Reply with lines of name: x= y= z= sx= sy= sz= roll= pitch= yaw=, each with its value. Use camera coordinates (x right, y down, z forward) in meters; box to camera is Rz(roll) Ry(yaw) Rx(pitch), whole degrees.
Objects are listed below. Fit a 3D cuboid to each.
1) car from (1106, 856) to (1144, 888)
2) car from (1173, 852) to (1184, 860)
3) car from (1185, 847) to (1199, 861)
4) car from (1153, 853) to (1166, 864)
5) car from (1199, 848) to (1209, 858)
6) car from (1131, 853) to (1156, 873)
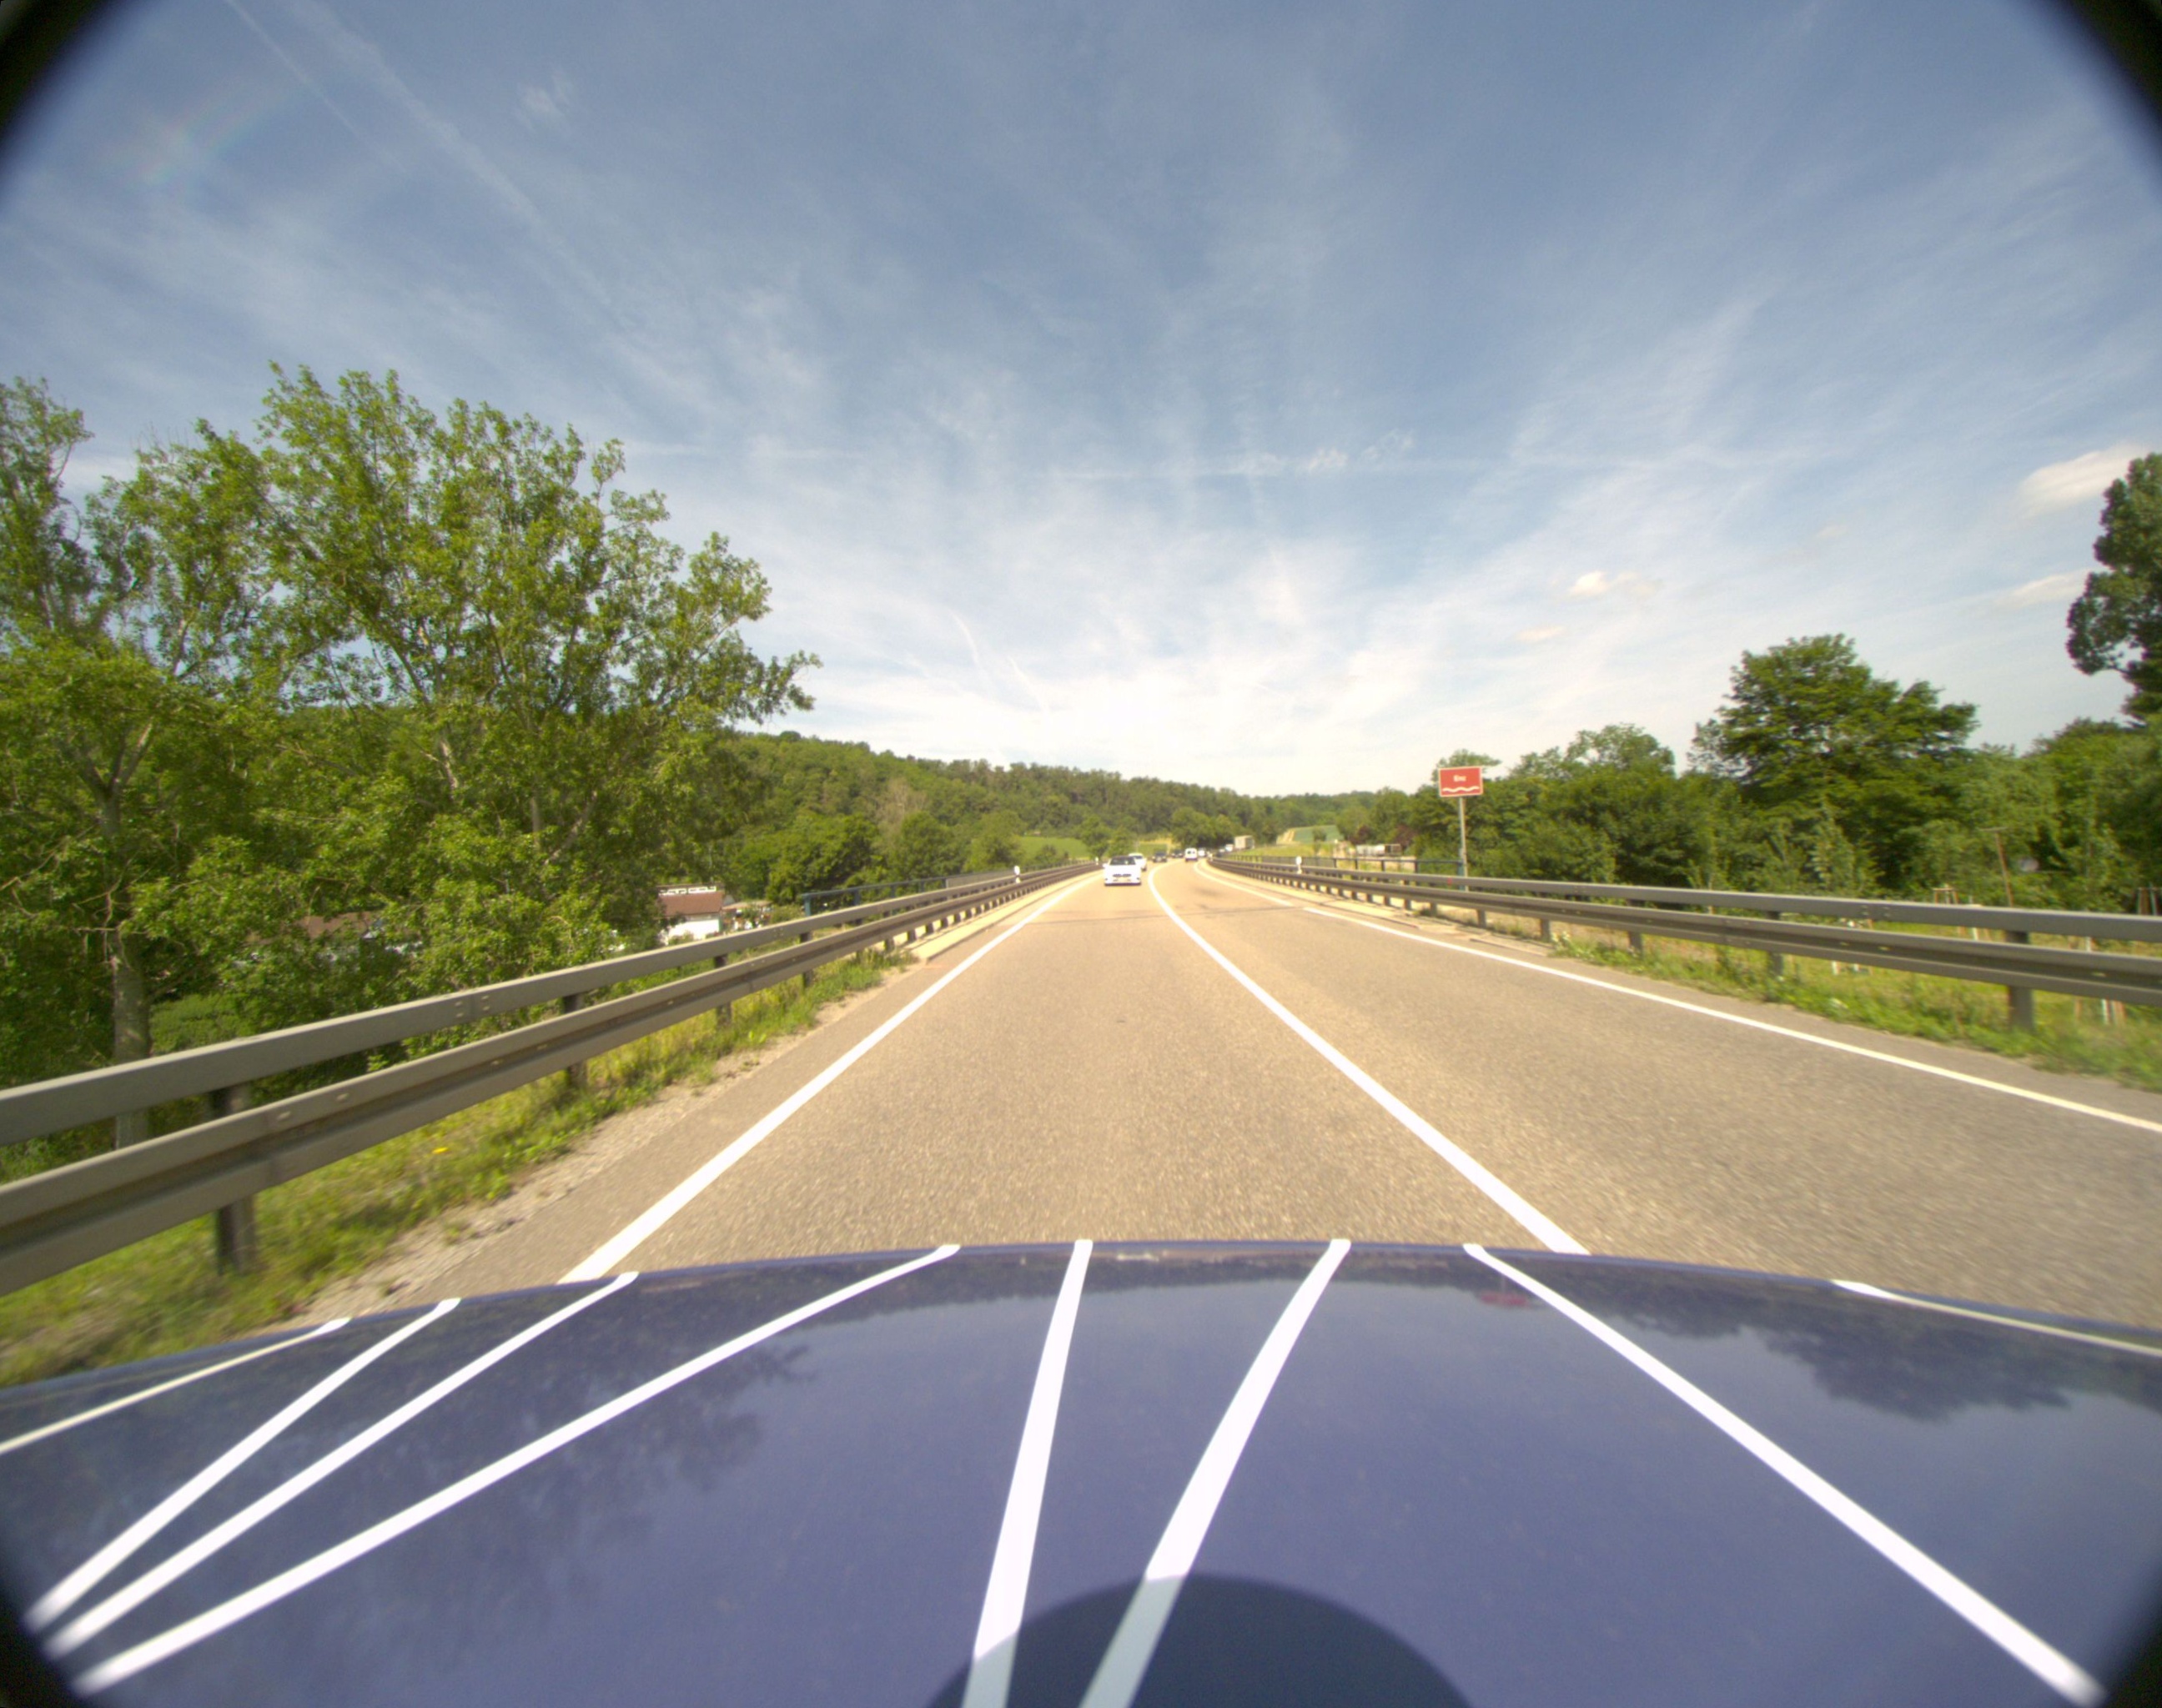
car: x=2.209 y=0.886 z=38.400 sx=1.742 sy=1.445 sz=4.036 roll=-2 pitch=0 yaw=3
car: x=17.508 y=0.344 z=136.190 sx=1.741 sy=1.445 sz=4.039 roll=-2 pitch=0 yaw=10
car: x=15.130 y=-0.018 z=103.327 sx=1.742 sy=1.765 sz=4.038 roll=-2 pitch=0 yaw=9
car: x=10.918 y=0.619 z=106.182 sx=1.742 sy=1.445 sz=4.037 roll=-2 pitch=0 yaw=6
car: x=21.593 y=-0.233 z=133.476 sx=1.742 sy=1.602 sz=3.810 roll=-2 pitch=0 yaw=9
car: x=5.241 y=0.701 z=64.396 sx=1.717 sy=1.523 sz=3.999 roll=-2 pitch=1 yaw=0
